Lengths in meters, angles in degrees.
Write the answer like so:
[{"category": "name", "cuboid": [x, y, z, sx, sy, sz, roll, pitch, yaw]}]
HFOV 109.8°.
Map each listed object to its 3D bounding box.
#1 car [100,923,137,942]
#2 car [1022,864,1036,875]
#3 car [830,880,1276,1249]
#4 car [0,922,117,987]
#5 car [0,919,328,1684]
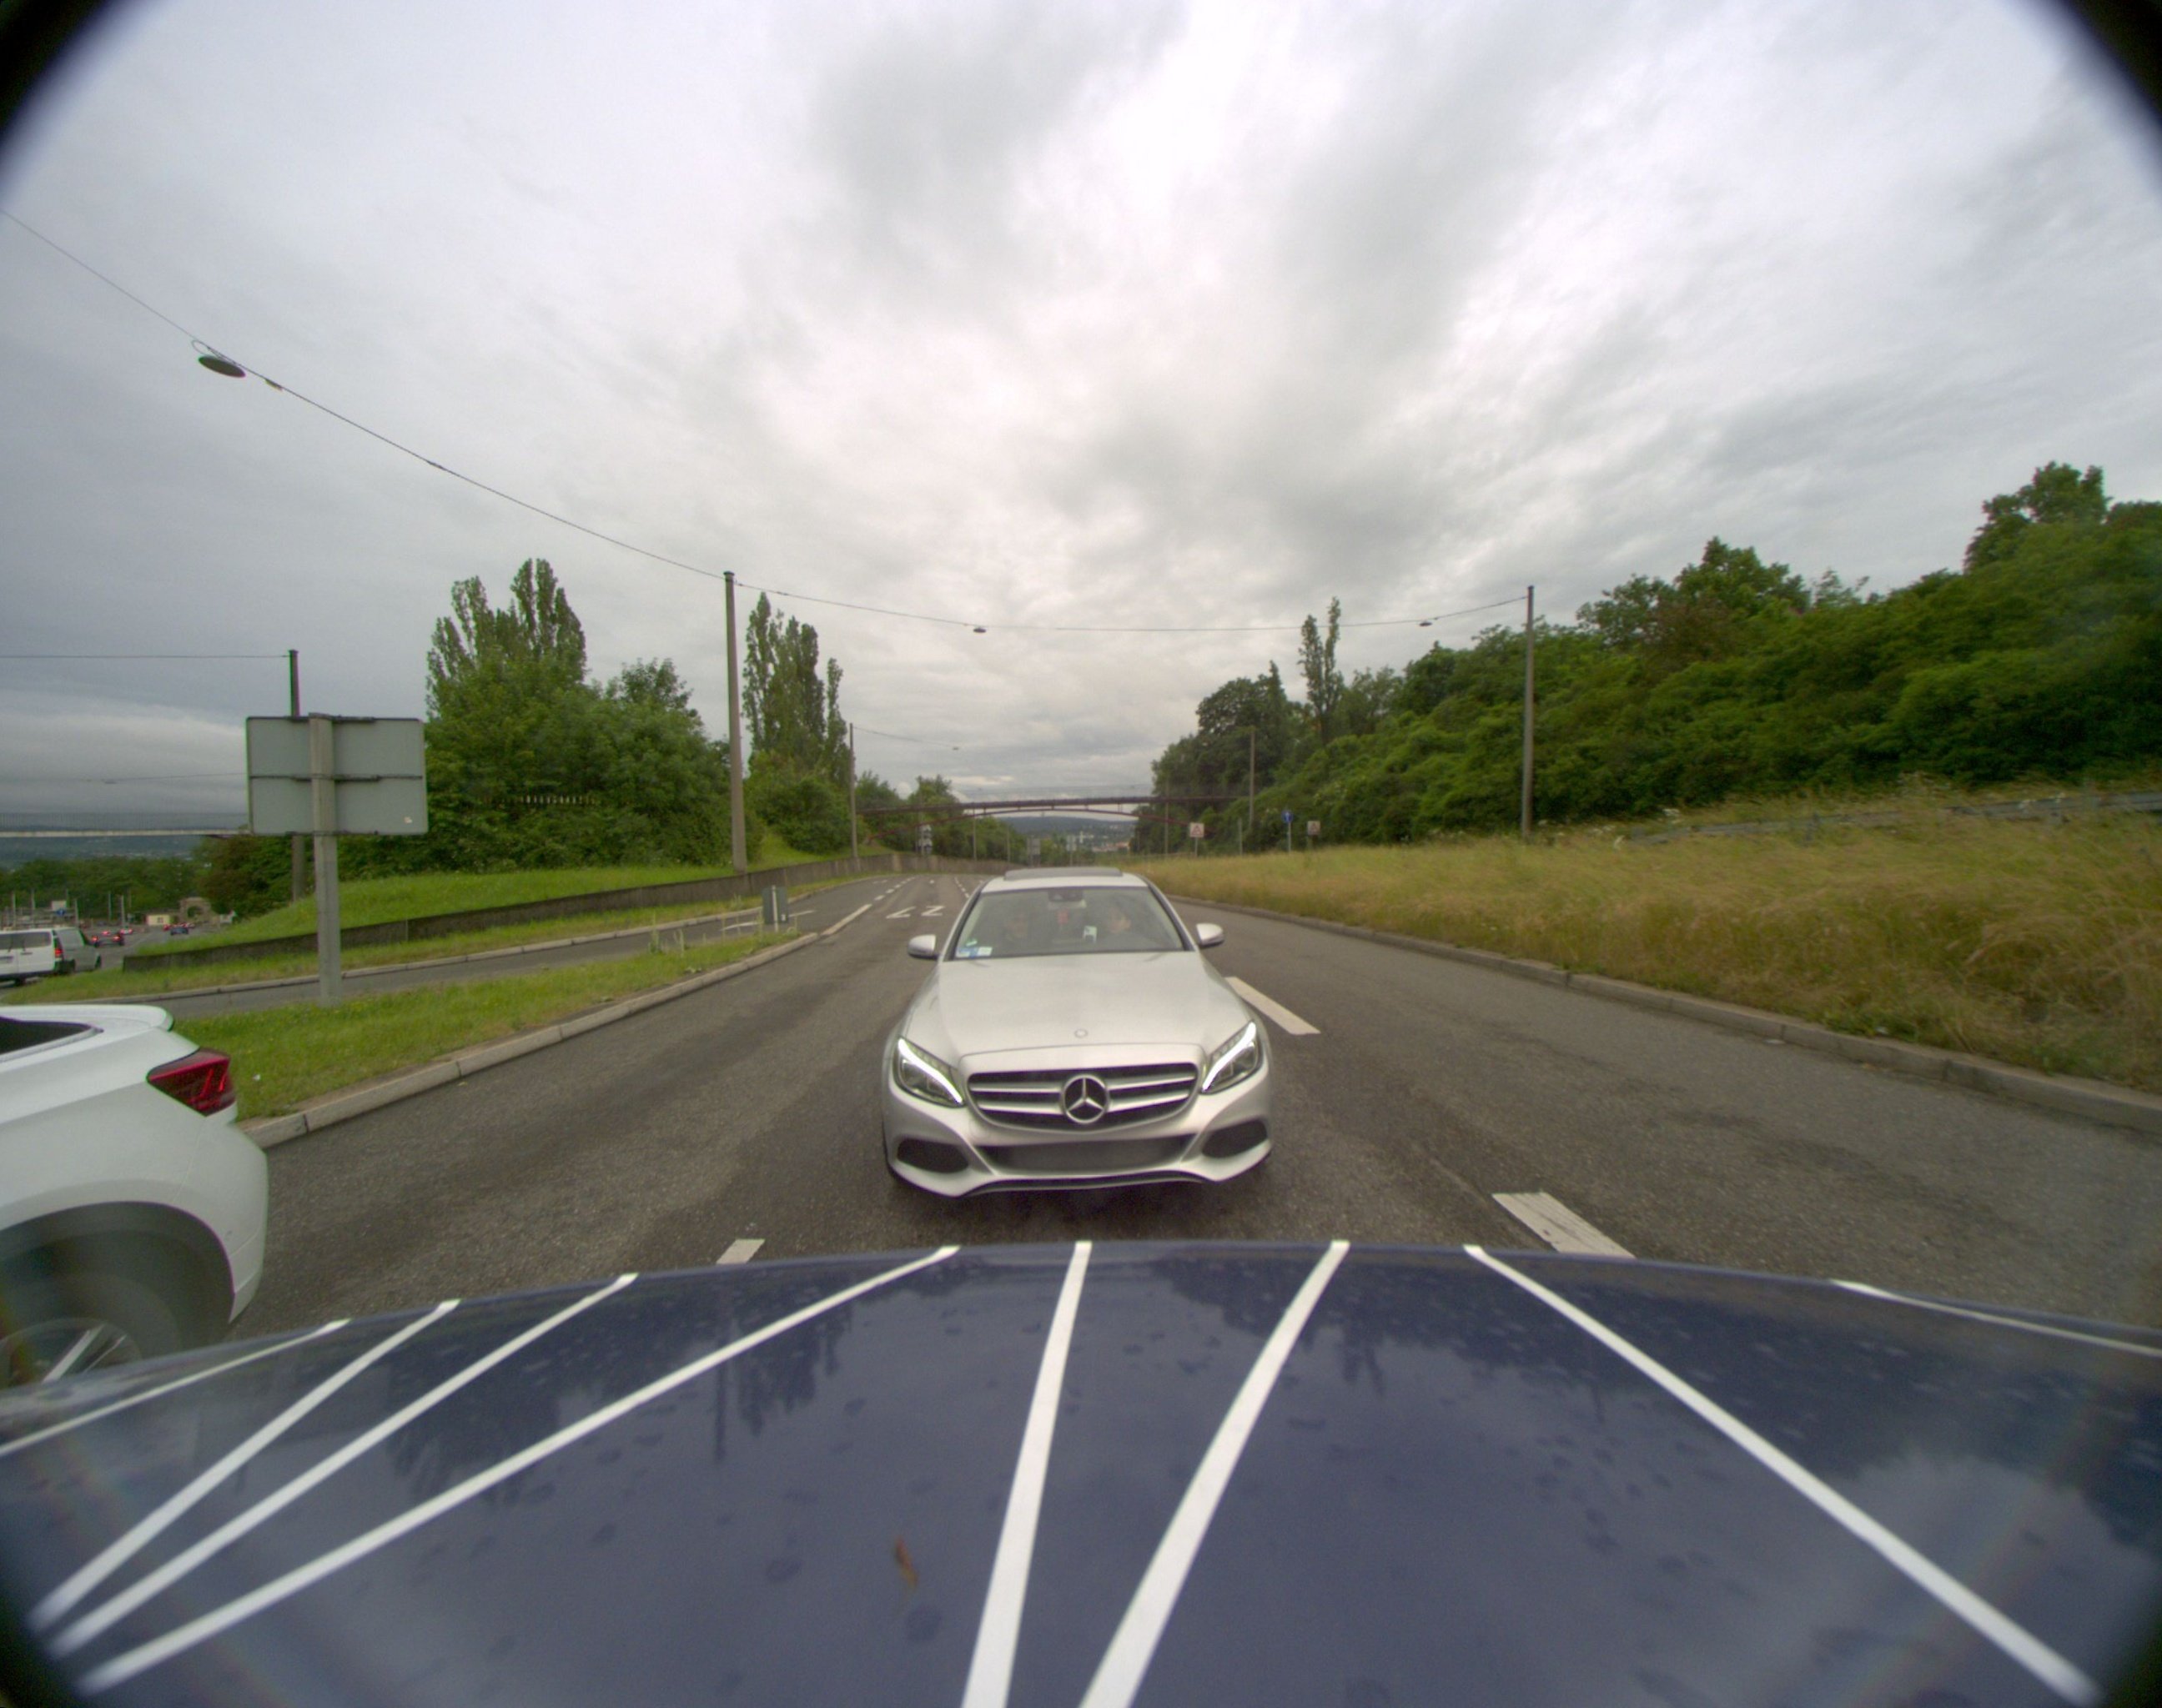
[{"category": "car", "cuboid": [-86.385, 7.050, 68.204, 4.071, 1.412, 1.689, -3, 0, 43]}, {"category": "car", "cuboid": [-9.403, 2.745, 136.703, 1.911, 1.668, 4.001, -5, 0, 2]}, {"category": "car", "cuboid": [-0.079, 0.988, 5.353, 1.894, 1.361, 4.134, -2, 1, 1]}, {"category": "car", "cuboid": [-35.655, 3.413, 26.255, 2.003, 1.837, 4.812, -5, 0, -42]}, {"category": "car", "cuboid": [-3.100, 1.034, 0.161, 1.718, 1.544, 4.227, -2, 1, -3]}]
